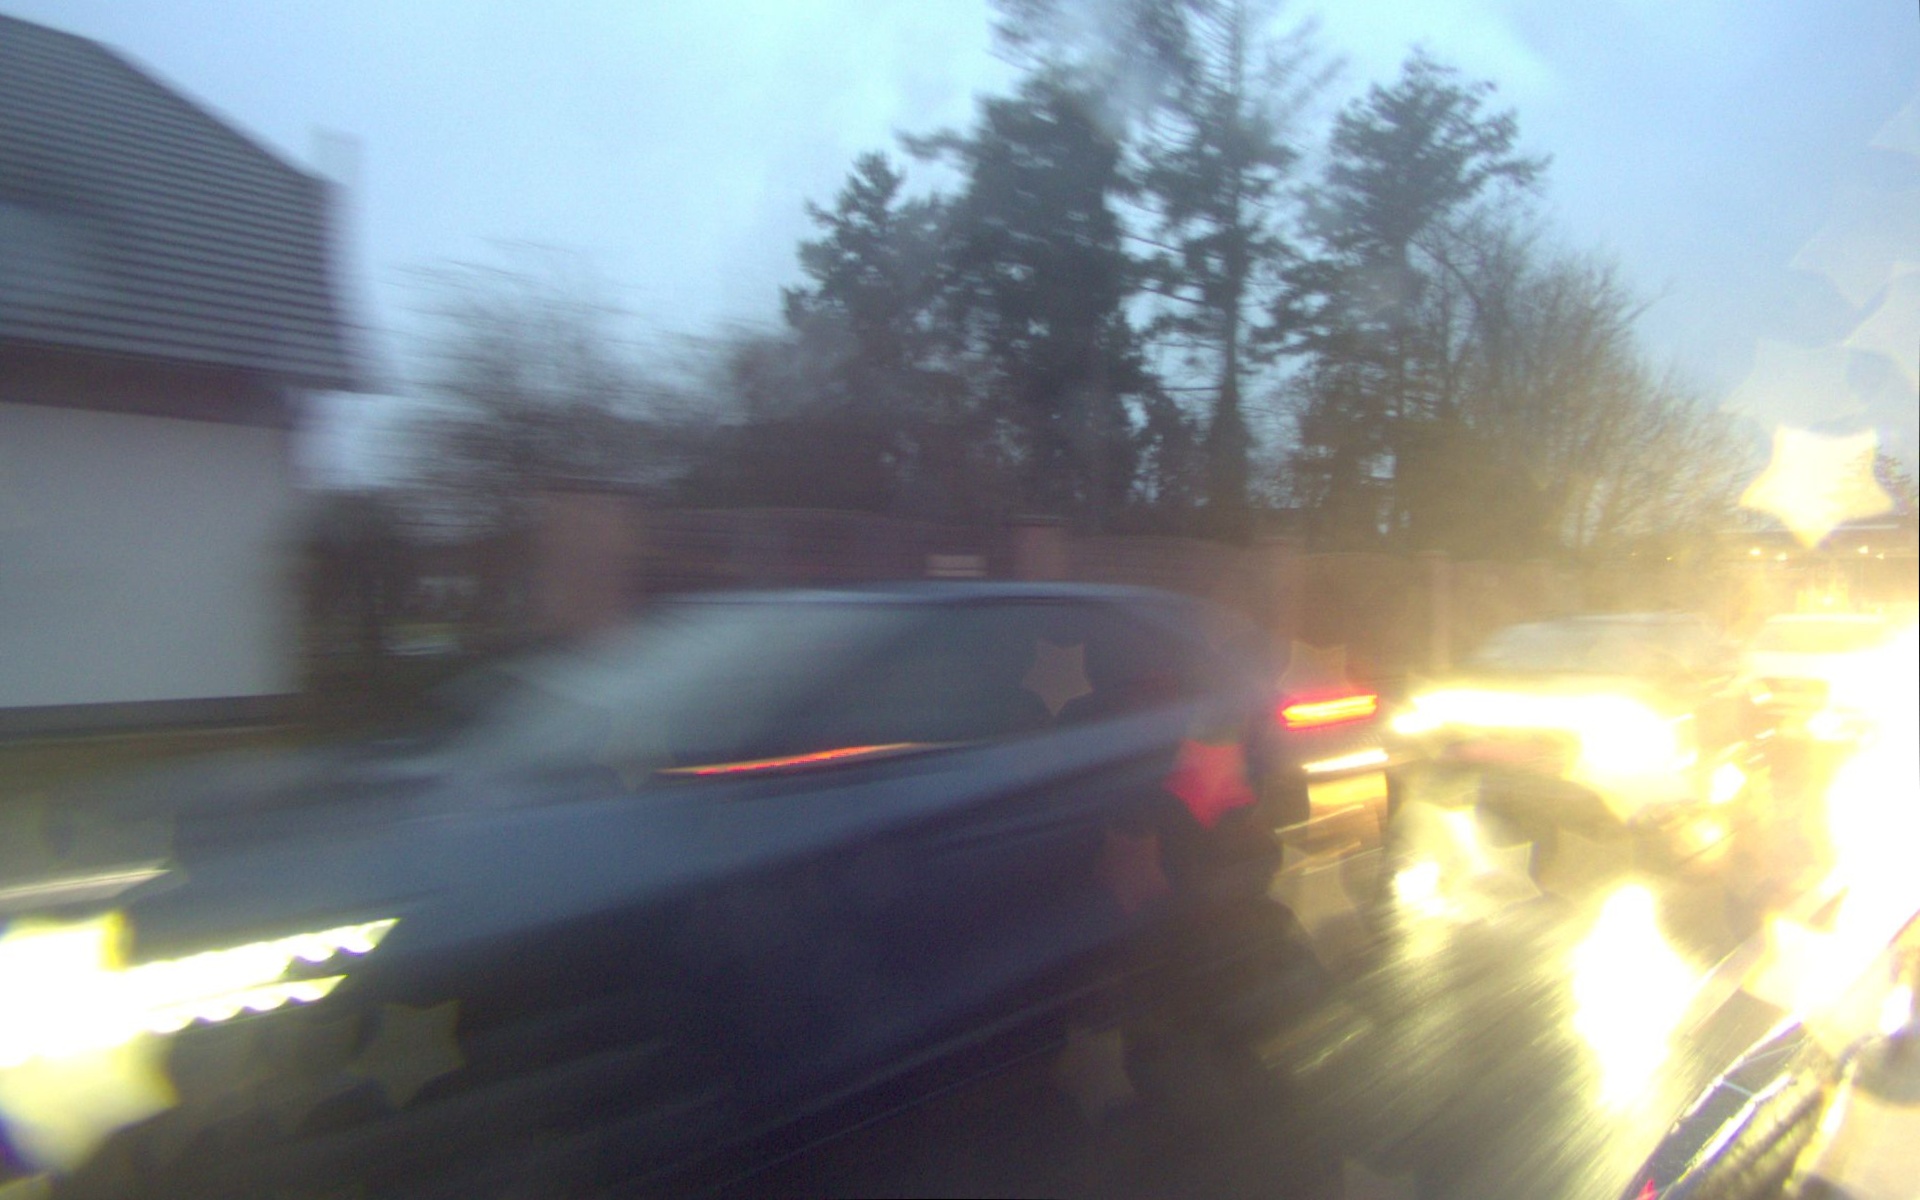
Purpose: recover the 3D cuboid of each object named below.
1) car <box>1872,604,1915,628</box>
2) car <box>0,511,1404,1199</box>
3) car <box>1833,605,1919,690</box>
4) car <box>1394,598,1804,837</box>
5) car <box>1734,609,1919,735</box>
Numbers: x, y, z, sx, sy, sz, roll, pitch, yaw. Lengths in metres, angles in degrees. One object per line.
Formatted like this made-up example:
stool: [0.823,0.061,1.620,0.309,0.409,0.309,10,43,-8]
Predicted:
car: [60.695,1.021,65.772,4.096,1.414,1.575,1,1,-41]
car: [-0.481,0.669,3.316,4.425,1.588,1.839,0,0,-41]
car: [17.704,0.808,18.732,4.685,1.384,1.644,0,0,-40]
car: [5.414,0.737,8.348,4.196,1.490,1.705,0,0,-41]
car: [11.675,0.813,13.214,4.197,1.352,1.656,0,0,-41]
